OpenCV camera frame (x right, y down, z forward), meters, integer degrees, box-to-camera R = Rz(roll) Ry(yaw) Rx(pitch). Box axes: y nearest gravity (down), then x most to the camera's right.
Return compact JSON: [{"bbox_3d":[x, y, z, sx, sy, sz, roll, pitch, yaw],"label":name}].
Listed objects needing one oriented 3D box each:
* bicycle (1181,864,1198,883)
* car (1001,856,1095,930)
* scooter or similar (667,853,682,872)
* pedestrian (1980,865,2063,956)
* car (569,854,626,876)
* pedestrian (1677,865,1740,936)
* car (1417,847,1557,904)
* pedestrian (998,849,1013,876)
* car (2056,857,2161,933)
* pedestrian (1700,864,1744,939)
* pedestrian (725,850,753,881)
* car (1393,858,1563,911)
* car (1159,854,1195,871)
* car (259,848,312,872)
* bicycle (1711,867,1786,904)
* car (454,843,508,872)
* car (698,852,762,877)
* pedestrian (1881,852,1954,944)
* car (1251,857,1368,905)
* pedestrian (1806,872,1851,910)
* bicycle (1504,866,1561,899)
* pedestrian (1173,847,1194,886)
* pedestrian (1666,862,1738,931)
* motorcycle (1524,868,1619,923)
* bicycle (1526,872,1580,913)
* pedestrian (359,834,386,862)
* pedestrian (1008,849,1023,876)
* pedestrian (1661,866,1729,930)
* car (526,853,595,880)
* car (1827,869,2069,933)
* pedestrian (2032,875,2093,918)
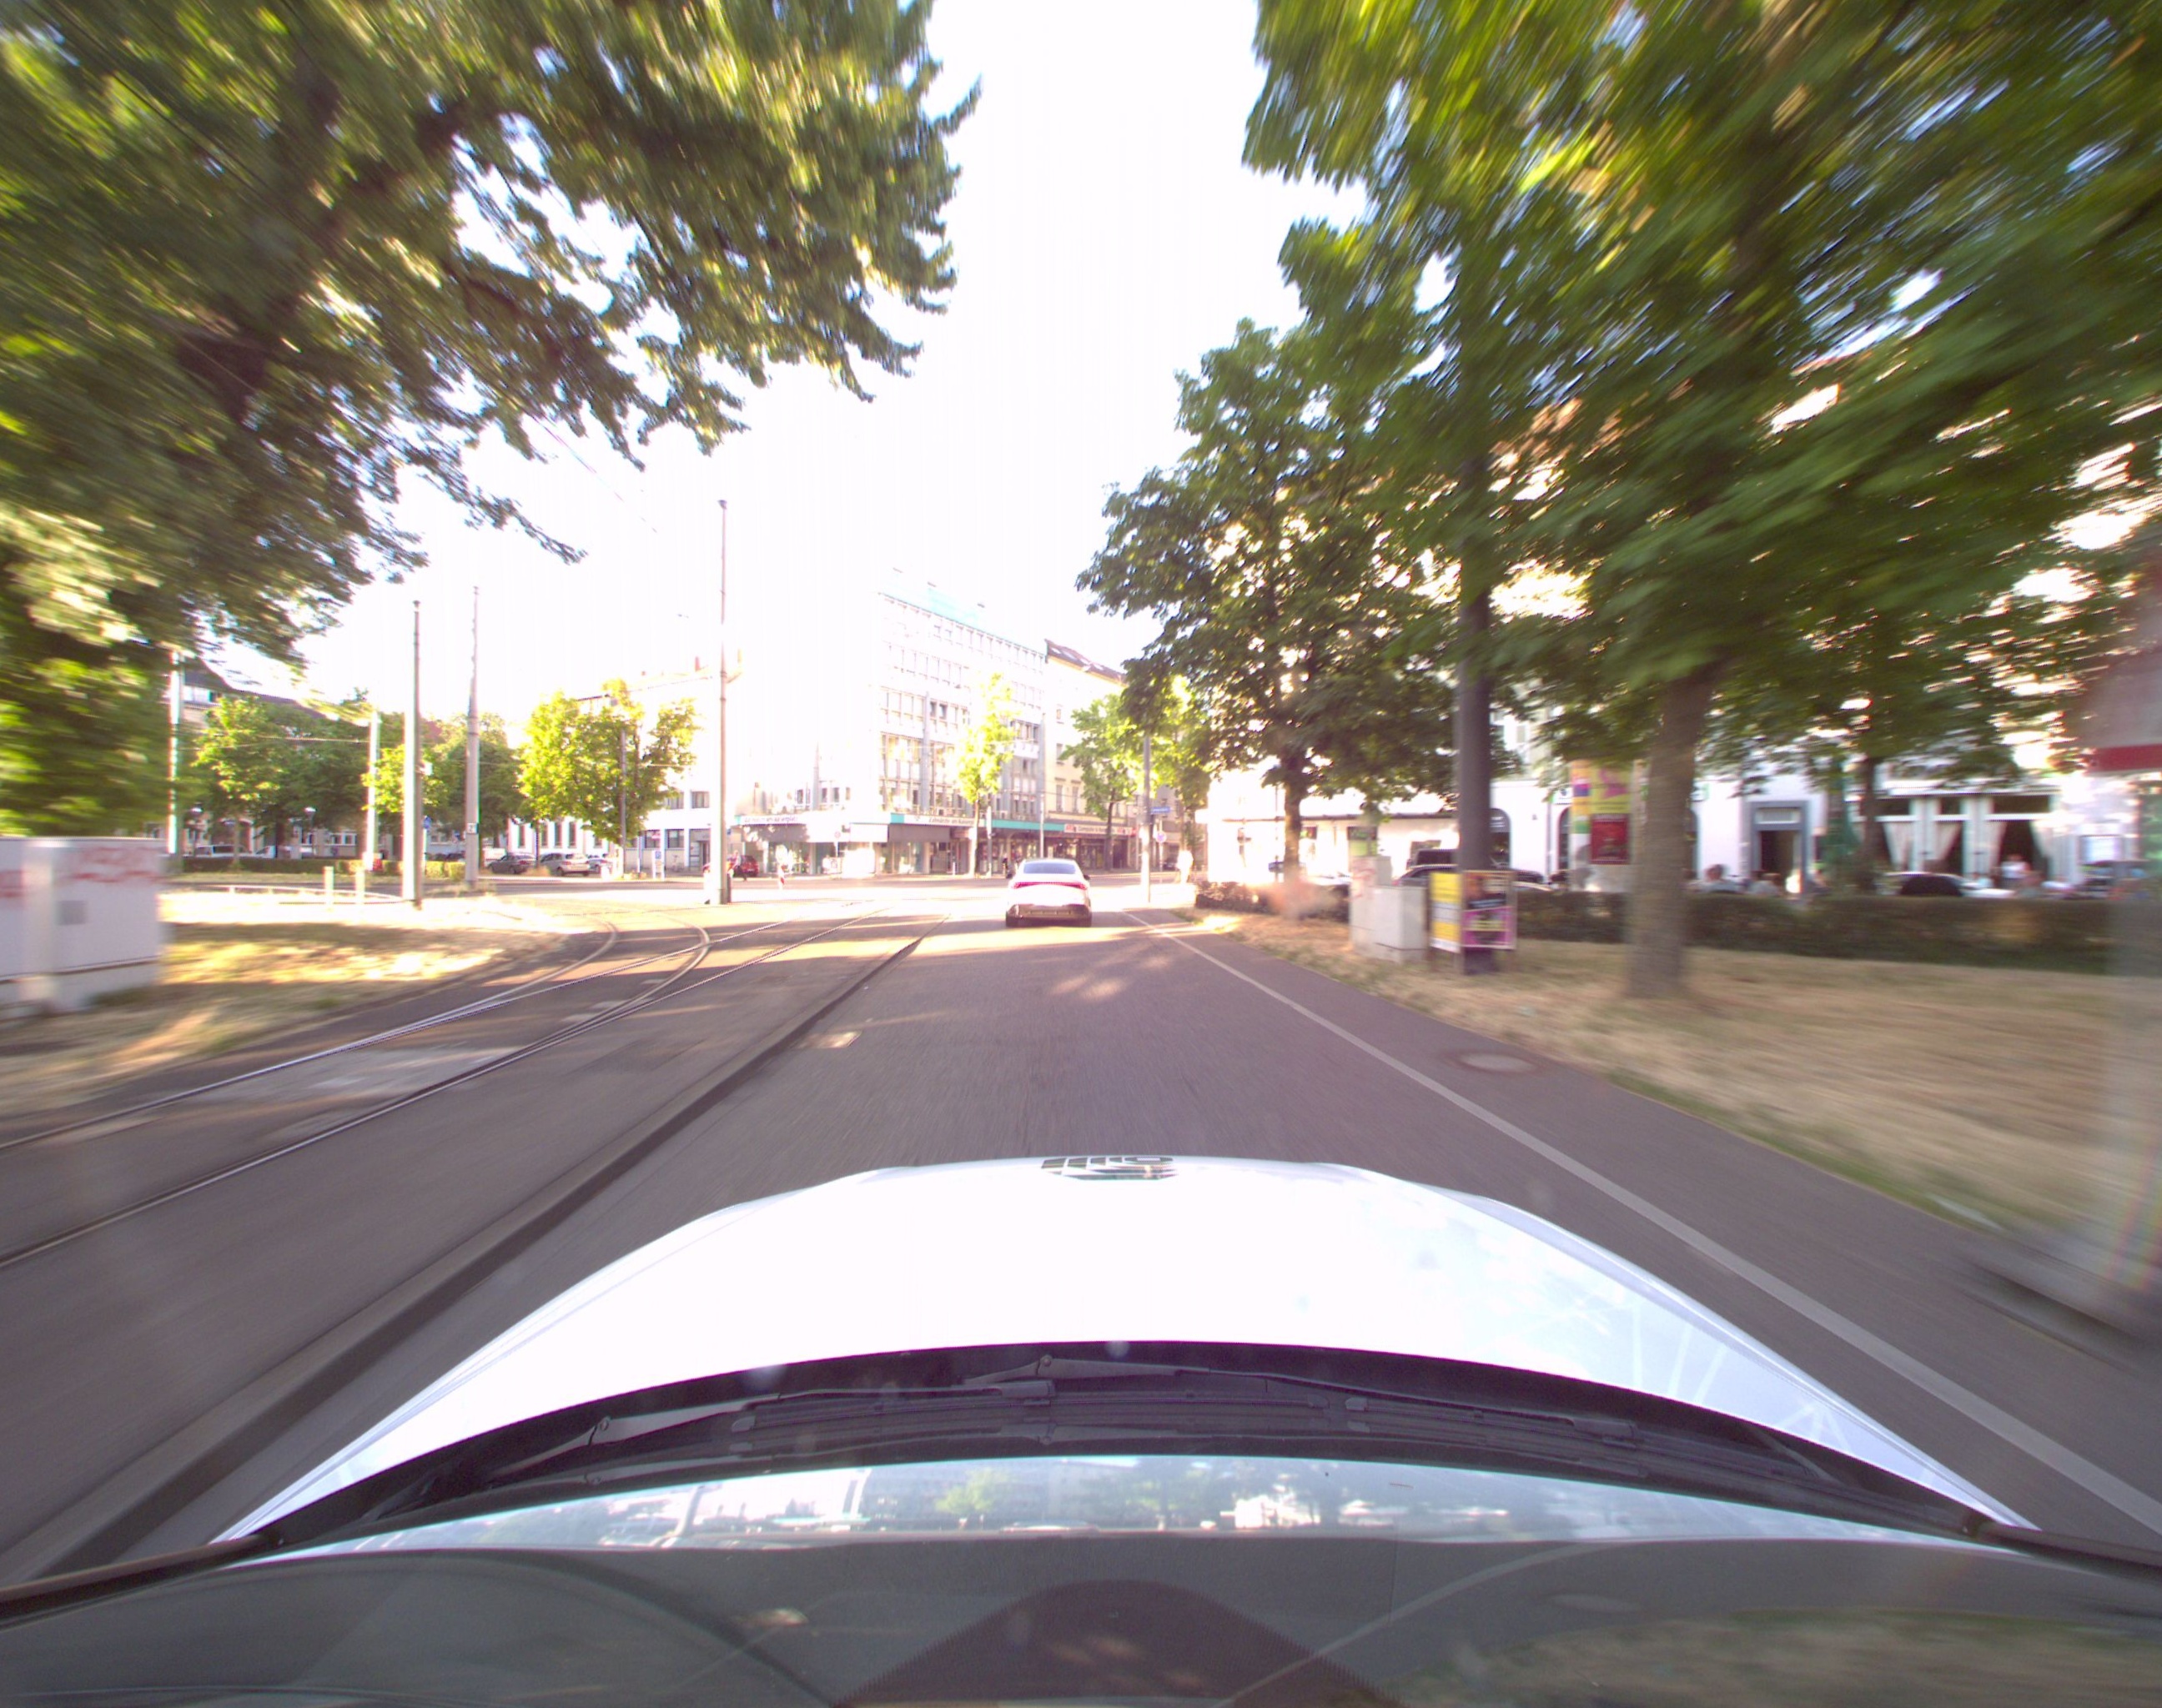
[{"bbox_3d":[6.110,1.088,45.904,0.351,1.076,1.709,1,-1,28],"label":"bicycle"},{"bbox_3d":[-0.684,0.794,18.393,1.862,1.469,4.041,0,0,-1],"label":"car"},{"bbox_3d":[-30.719,0.624,61.597,0.758,1.398,1.908,1,0,-34],"label":"scooter or similar"},{"bbox_3d":[14.096,0.829,12.226,0.655,1.242,0.957,5,2,44],"label":"pedestrian"},{"bbox_3d":[-35.354,0.820,59.527,3.948,1.530,2.013,0,-1,34],"label":"car"},{"bbox_3d":[11.699,0.845,15.211,0.770,1.243,0.994,1,0,28],"label":"pedestrian"},{"bbox_3d":[14.795,0.729,29.716,4.454,1.963,2.036,0,-1,30],"label":"car"},{"bbox_3d":[-5.707,0.610,61.594,0.789,2.014,0.739,1,-1,32],"label":"pedestrian"},{"bbox_3d":[29.504,1.092,21.459,4.454,1.963,2.036,1,-1,30],"label":"car"},{"bbox_3d":[11.076,0.801,14.068,0.561,1.244,0.616,-1,-1,41],"label":"pedestrian"},{"bbox_3d":[-18.746,0.635,44.615,1.169,1.703,0.896,1,-1,-42],"label":"pedestrian"},{"bbox_3d":[12.288,0.887,25.311,4.613,1.514,1.750,0,-1,30],"label":"car"},{"bbox_3d":[9.624,0.828,81.383,1.943,1.640,4.025,1,0,32],"label":"car"},{"bbox_3d":[-69.101,0.518,70.744,3.950,2.014,2.012,0,-1,26],"label":"car"},{"bbox_3d":[23.600,1.087,28.827,1.962,1.245,0.691,0,-1,31],"label":"bicycle"},{"bbox_3d":[-43.353,0.241,58.858,3.948,2.014,2.013,0,-1,36],"label":"car"},{"bbox_3d":[-22.374,0.657,51.926,3.948,1.485,2.040,1,-1,37],"label":"car"},{"bbox_3d":[12.907,0.659,12.594,0.723,1.356,1.021,-1,-2,44],"label":"pedestrian"},{"bbox_3d":[7.846,0.878,27.963,3.532,1.514,1.750,0,-1,30],"label":"car"},{"bbox_3d":[25.429,1.238,27.717,1.014,1.245,0.691,0,-1,31],"label":"pedestrian"},{"bbox_3d":[17.797,1.099,32.127,1.962,1.245,0.691,0,-1,31],"label":"bicycle"},{"bbox_3d":[5.316,0.636,42.132,0.833,2.014,0.851,1,-1,25],"label":"pedestrian"},{"bbox_3d":[12.626,0.847,16.577,0.940,1.283,0.667,5,1,23],"label":"pedestrian"},{"bbox_3d":[13.230,1.116,21.967,2.242,1.368,0.946,2,-1,-19],"label":"motorcycle"},{"bbox_3d":[11.260,0.907,19.429,1.536,0.929,0.549,1,-1,-36],"label":"bicycle"},{"bbox_3d":[-52.164,-0.445,59.954,1.446,2.014,1.126,0,-1,32],"label":"pedestrian"},{"bbox_3d":[-4.916,0.643,61.152,0.789,2.014,0.739,1,-1,32],"label":"pedestrian"},{"bbox_3d":[13.018,0.907,17.290,0.940,1.242,0.667,5,1,23],"label":"pedestrian"},{"bbox_3d":[-34.158,0.817,53.488,3.950,1.684,2.012,0,-1,26],"label":"car"},{"bbox_3d":[25.008,1.300,23.767,4.454,1.617,2.036,1,-1,30],"label":"car"},{"bbox_3d":[29.875,1.283,24.801,1.014,1.245,0.691,0,-1,31],"label":"pedestrian"}]
